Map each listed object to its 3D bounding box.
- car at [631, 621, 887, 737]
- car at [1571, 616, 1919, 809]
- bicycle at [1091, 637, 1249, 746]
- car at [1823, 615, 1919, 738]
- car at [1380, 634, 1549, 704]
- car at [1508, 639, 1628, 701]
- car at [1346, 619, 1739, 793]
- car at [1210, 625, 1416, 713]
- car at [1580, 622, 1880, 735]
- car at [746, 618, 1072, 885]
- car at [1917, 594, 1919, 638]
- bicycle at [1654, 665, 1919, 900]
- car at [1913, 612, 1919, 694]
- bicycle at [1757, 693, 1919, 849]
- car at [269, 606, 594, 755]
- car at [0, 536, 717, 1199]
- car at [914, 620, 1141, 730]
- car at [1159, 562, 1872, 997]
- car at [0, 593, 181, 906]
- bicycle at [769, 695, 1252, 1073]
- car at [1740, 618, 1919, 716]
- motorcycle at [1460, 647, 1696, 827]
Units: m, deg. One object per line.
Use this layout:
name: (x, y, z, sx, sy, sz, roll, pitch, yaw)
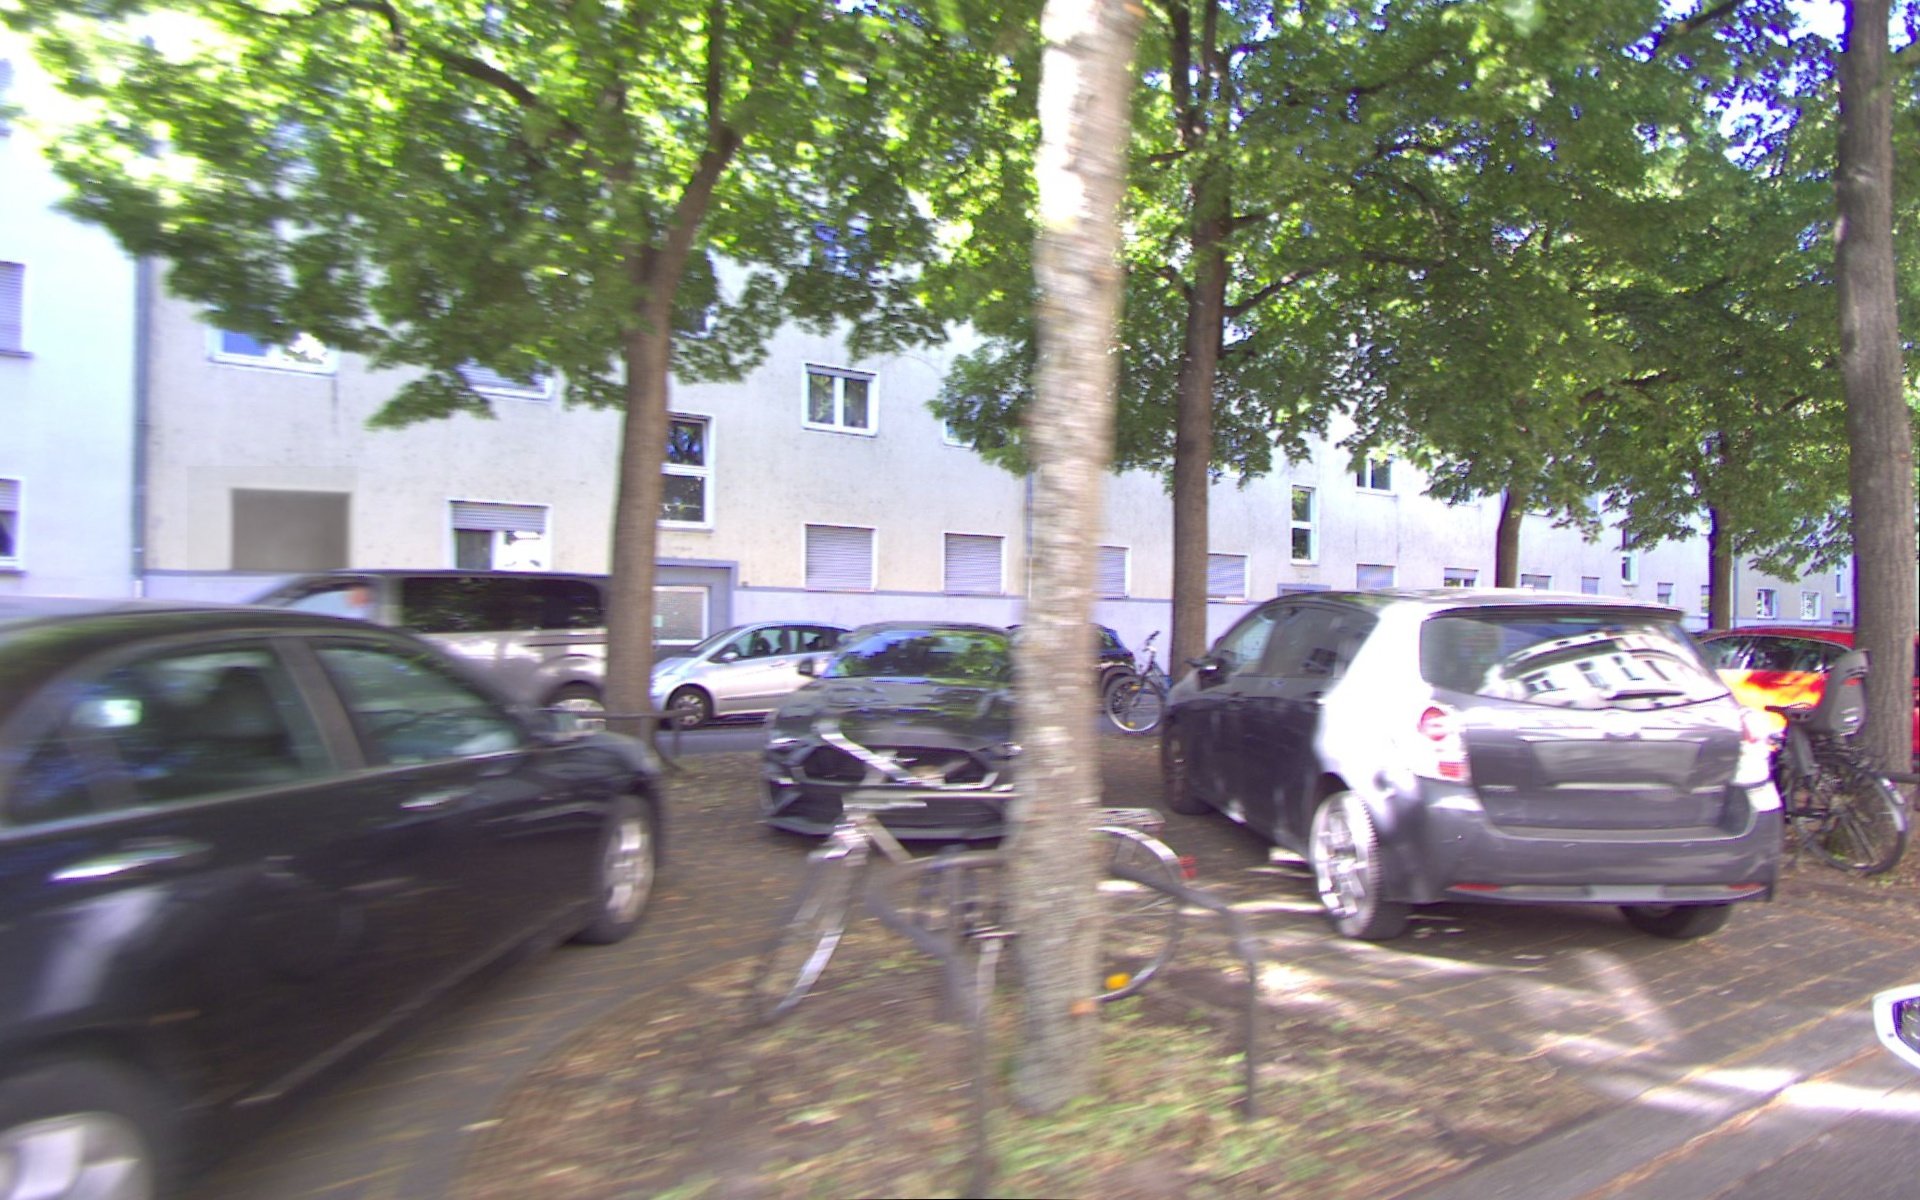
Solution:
car: (-3.065, 1.143, 15.486, 3.540, 1.596, 1.608, 1, -3, -32)
car: (8.625, 0.962, 10.382, 1.726, 1.506, 4.628, 1, 0, -1)
bicycle: (2.451, 1.064, 11.752, 1.767, 1.216, 0.356, 1, 0, -6)
car: (13.741, 1.049, 13.034, 1.739, 1.617, 3.692, 1, 0, -4)
car: (12.493, 1.644, 24.836, 4.114, 1.586, 1.882, 1, -3, -32)
car: (16.421, 1.849, 27.115, 3.148, 1.579, 1.467, 1, -3, -32)
car: (5.924, 0.976, 10.901, 1.835, 1.492, 4.116, 1, -1, -1)
car: (7.660, 1.445, 21.708, 4.326, 1.741, 1.838, 1, -3, -30)
car: (11.565, 1.093, 15.484, 1.761, 1.454, 4.002, 1, -1, 4)
car: (-0.144, 0.864, 7.629, 1.781, 1.409, 4.201, 1, -1, 4)
car: (27.336, 0.942, 23.981, 2.414, 2.656, 6.072, 2, -5, -14)
bicycle: (5.277, 1.055, 6.349, 0.372, 1.174, 1.688, 1, 0, -10)
car: (22.195, 1.138, 20.186, 1.862, 1.800, 4.393, 1, -1, -2)
bicycle: (6.511, 1.186, 6.862, 0.372, 0.931, 1.901, 1, 0, -10)
car: (-6.783, 1.016, 13.095, 3.561, 1.698, 1.467, 1, -6, -32)
car: (-2.170, 0.694, 2.927, 1.593, 1.493, 4.023, 0, -2, 6)
car: (1.240, 1.265, 17.954, 3.796, 1.776, 1.692, 1, -2, -32)
car: (2.588, 0.716, 5.964, 1.827, 1.675, 4.088, 1, 0, -2)
car: (-5.403, 0.692, 4.056, 1.797, 1.505, 3.994, 2, -1, -8)
bicycle: (0.179, 0.931, 3.564, 1.650, 1.145, 0.428, 1, -1, -14)
car: (16.479, 1.150, 18.104, 1.809, 1.576, 3.917, 0, -2, 1)
motorcycle: (4.777, 1.020, 7.878, 1.486, 1.271, 0.644, 0, -1, 24)
